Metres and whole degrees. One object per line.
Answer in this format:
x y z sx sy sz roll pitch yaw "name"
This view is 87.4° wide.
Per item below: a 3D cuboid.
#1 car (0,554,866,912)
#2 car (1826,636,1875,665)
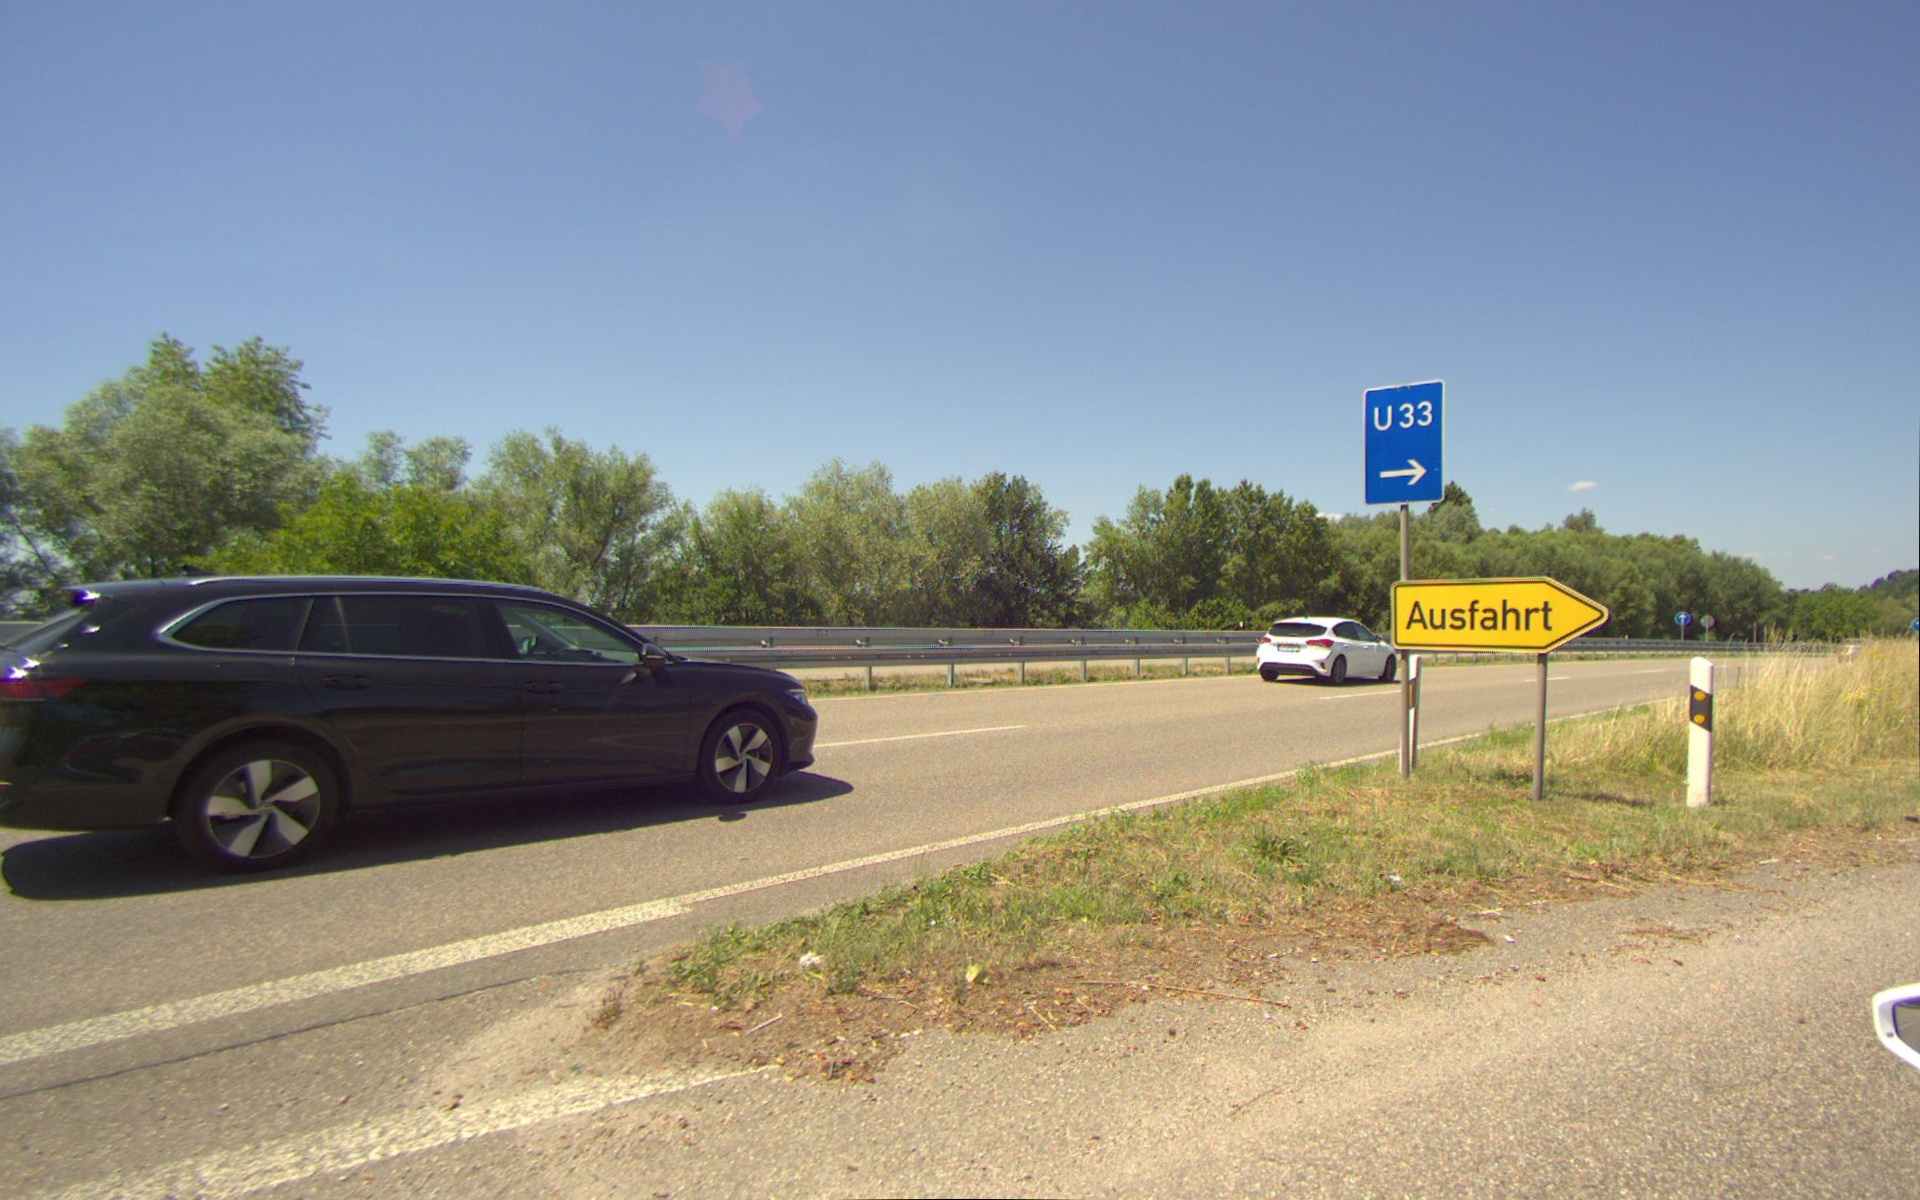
-3.118 0.598 6.483 1.865 1.500 4.974 1 0 44 "car"
57.767 3.252 65.151 3.973 1.695 2.016 2 0 -44 "car"
